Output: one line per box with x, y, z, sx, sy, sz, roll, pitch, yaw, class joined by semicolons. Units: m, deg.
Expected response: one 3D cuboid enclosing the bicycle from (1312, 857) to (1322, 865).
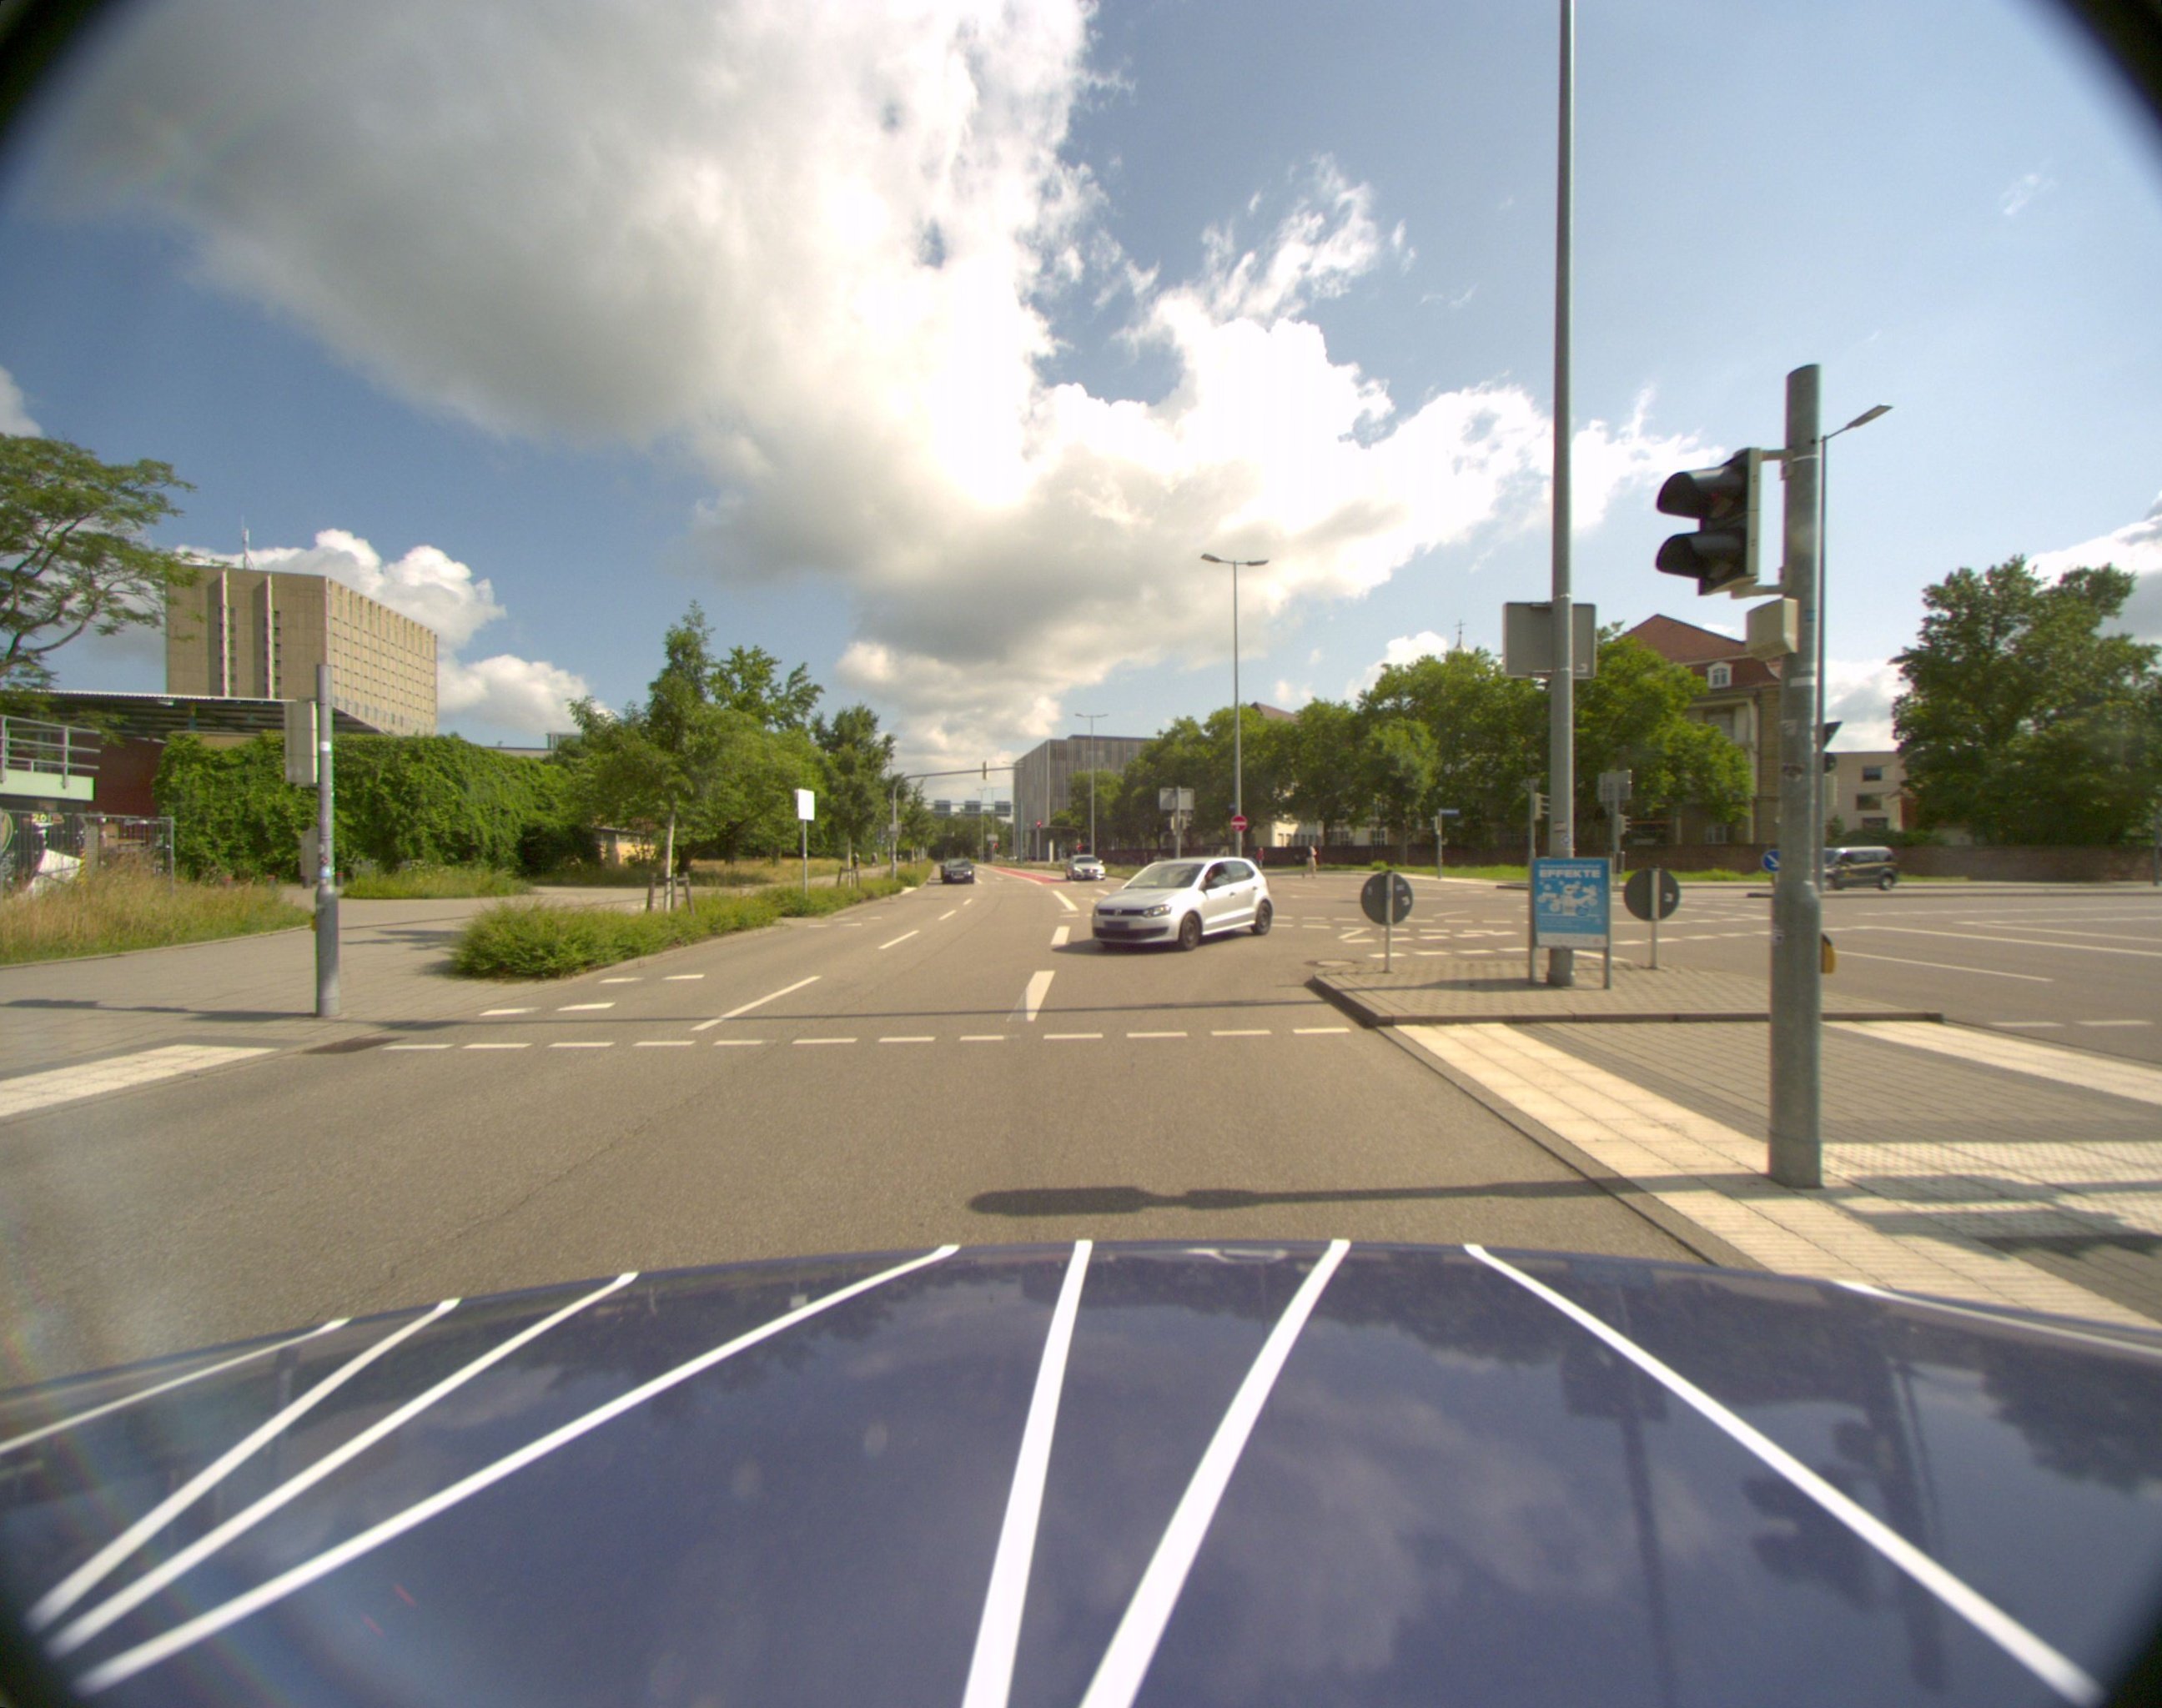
23.939;0.715;77.091;0.975;0.843;0.481;0;1;-35;bicycle

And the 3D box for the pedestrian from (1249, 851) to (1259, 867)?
18.677;0.523;81.906;0.665;1.713;0.740;0;1;-33;pedestrian

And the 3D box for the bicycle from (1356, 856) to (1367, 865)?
26.918;0.659;72.859;0.975;0.843;0.481;0;1;-35;bicycle

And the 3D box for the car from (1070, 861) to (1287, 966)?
1.784;0.865;12.845;1.651;1.433;4.013;0;1;42;car

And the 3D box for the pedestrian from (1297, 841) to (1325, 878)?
11.774;0.295;38.953;1.182;1.846;0.698;-1;-1;-24;pedestrian

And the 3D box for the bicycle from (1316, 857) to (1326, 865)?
24.219;0.695;76.599;0.975;0.843;0.481;0;1;-35;bicycle

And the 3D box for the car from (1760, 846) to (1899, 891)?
31.095;0.619;31.583;4.673;1.774;1.853;0;-1;-12;car

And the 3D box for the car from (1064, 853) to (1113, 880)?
0.370;0.690;44.416;2.062;1.434;4.776;-2;1;-9;car

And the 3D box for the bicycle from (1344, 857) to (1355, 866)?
26.086;0.698;73.882;0.975;0.843;0.481;0;1;-35;bicycle

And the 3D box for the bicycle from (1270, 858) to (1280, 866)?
20.794;0.818;81.447;0.975;0.843;0.481;0;1;-35;bicycle

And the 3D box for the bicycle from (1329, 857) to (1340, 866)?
25.090;0.766;75.304;1.076;0.843;0.498;0;1;-35;bicycle

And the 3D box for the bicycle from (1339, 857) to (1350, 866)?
25.820;0.717;74.399;0.975;0.843;0.481;0;1;-35;bicycle

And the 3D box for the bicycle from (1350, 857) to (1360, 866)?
26.463;0.700;73.369;0.975;0.843;0.481;0;1;-35;bicycle

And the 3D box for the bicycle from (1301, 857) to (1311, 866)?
23.146;0.758;78.156;0.975;0.843;0.481;0;1;-35;bicycle

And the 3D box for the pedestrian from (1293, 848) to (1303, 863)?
22.301;0.169;78.043;0.727;1.525;0.722;-1;1;-40;pedestrian

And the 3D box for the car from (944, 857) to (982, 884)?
-6.682;0.902;43.113;2.000;1.369;4.157;1;0;-9;car

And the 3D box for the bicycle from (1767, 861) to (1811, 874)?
48.374;0.916;51.958;2.055;0.856;0.860;1;3;30;bicycle

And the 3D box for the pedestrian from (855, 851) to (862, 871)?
-18.053;0.546;61.611;0.542;1.598;0.523;0;-1;-17;pedestrian

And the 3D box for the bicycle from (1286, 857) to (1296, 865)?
22.025;0.751;79.703;0.975;0.843;0.481;0;1;-35;bicycle

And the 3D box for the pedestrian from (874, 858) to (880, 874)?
-21.516;1.269;80.070;0.542;1.757;0.523;0;-1;-17;pedestrian

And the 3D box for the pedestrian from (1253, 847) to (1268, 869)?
14.616;0.303;61.766;0.750;1.770;0.964;-1;1;-24;pedestrian

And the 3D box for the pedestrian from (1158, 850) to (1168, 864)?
10.465;0.372;96.937;0.888;1.770;0.768;-7;4;-43;pedestrian

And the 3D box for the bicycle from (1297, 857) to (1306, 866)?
22.810;0.775;78.597;0.975;0.843;0.481;0;1;-35;bicycle

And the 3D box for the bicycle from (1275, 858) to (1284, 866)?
21.151;0.800;80.992;0.975;0.843;0.481;0;1;-35;bicycle

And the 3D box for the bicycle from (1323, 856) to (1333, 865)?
24.682;0.674;76.025;0.975;0.843;0.481;0;1;-35;bicycle
